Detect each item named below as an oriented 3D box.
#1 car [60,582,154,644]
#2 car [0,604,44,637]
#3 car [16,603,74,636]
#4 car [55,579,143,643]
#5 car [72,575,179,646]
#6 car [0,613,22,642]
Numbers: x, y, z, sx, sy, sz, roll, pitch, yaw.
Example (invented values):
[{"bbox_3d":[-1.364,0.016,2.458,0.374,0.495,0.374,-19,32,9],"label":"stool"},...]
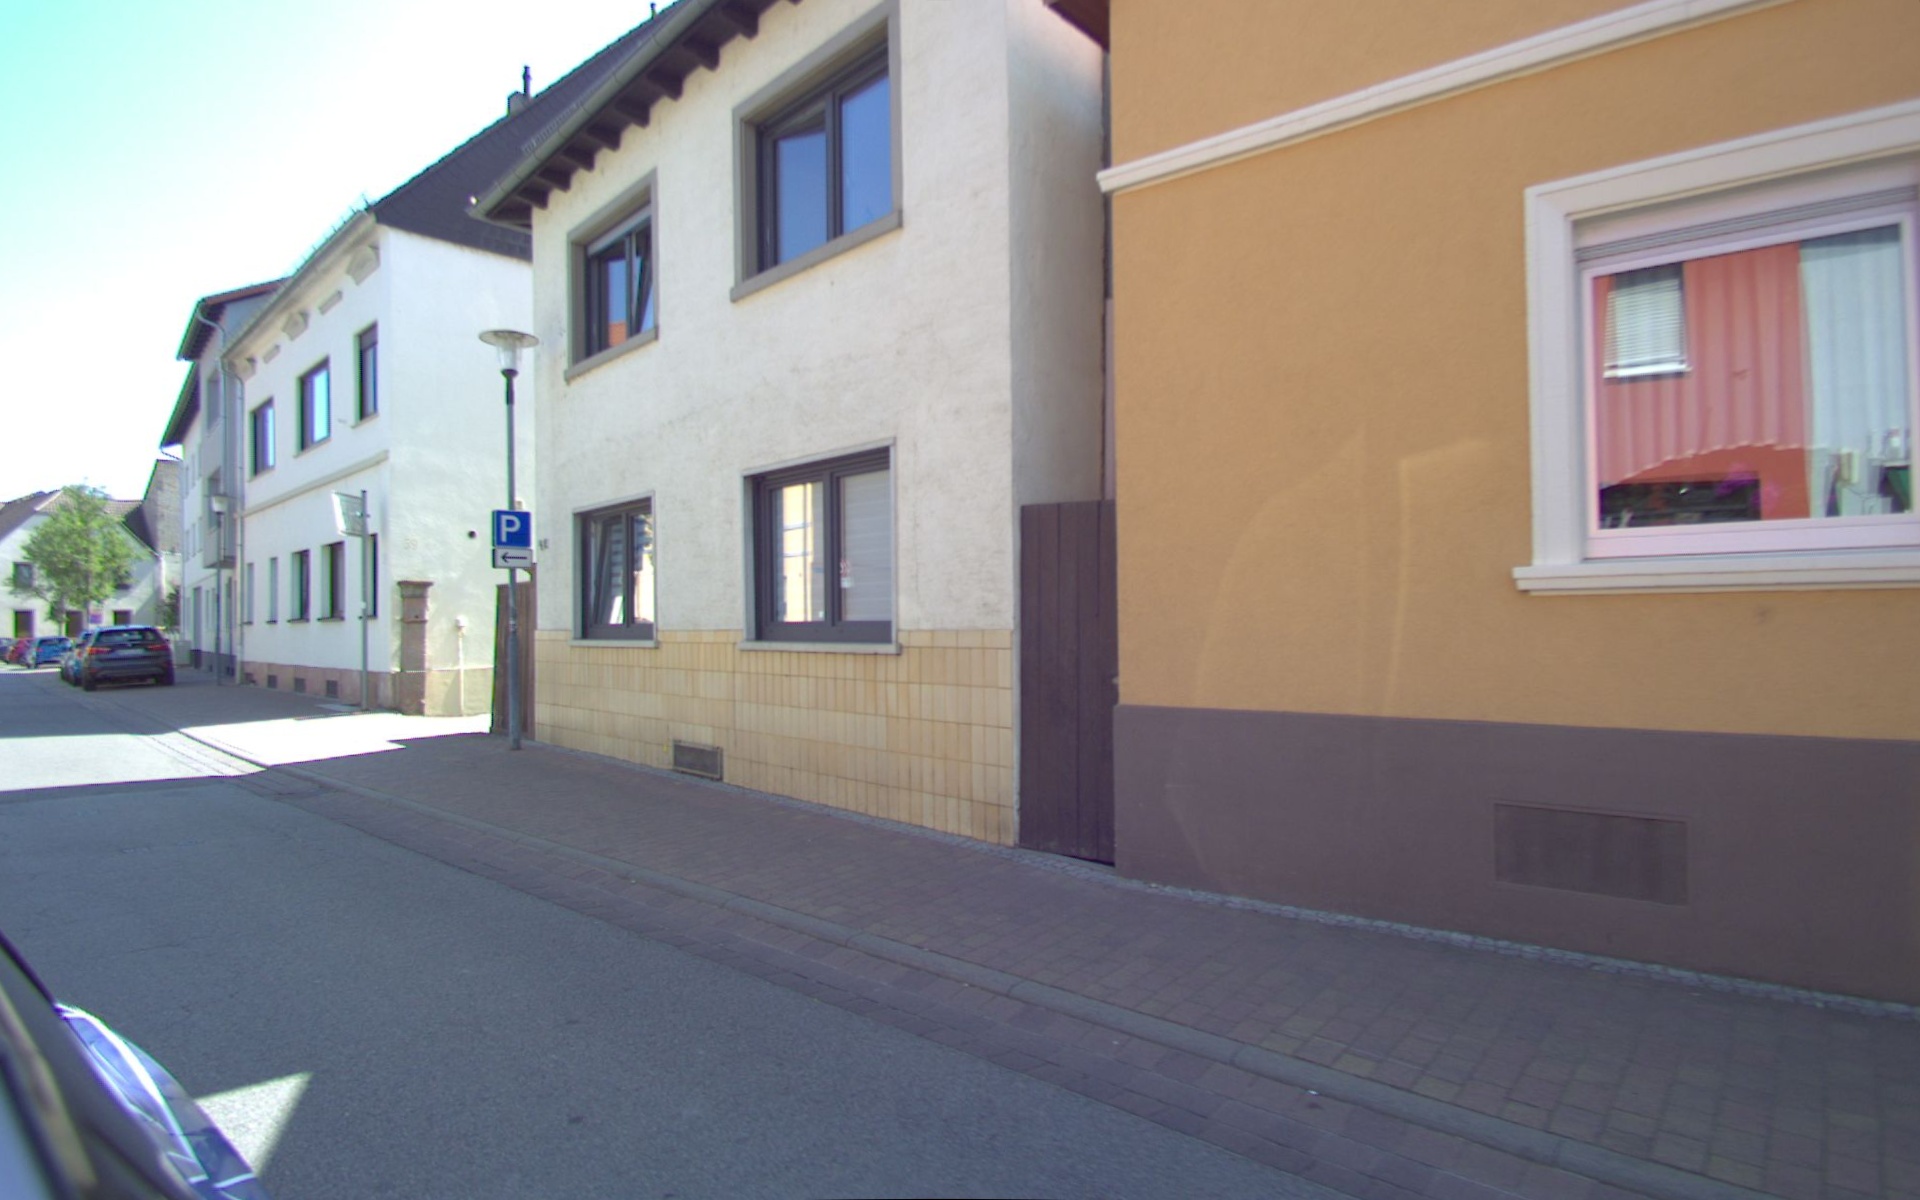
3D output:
[{"bbox_3d":[-25.486,0.443,30.196,1.889,1.627,3.989,2,-4,-43],"label":"car"},{"bbox_3d":[-48.424,1.101,51.952,3.798,1.472,1.551,-4,-7,40],"label":"car"},{"bbox_3d":[-43.656,0.926,48.243,3.799,1.472,1.551,-1,1,40],"label":"car"},{"bbox_3d":[-28.543,0.364,33.512,1.970,1.962,4.112,-2,1,-43],"label":"car"},{"bbox_3d":[-21.819,0.272,26.404,1.837,1.642,4.051,-4,2,-43],"label":"car"},{"bbox_3d":[-54.667,1.551,57.454,3.798,1.472,1.551,-4,-7,40],"label":"car"}]
